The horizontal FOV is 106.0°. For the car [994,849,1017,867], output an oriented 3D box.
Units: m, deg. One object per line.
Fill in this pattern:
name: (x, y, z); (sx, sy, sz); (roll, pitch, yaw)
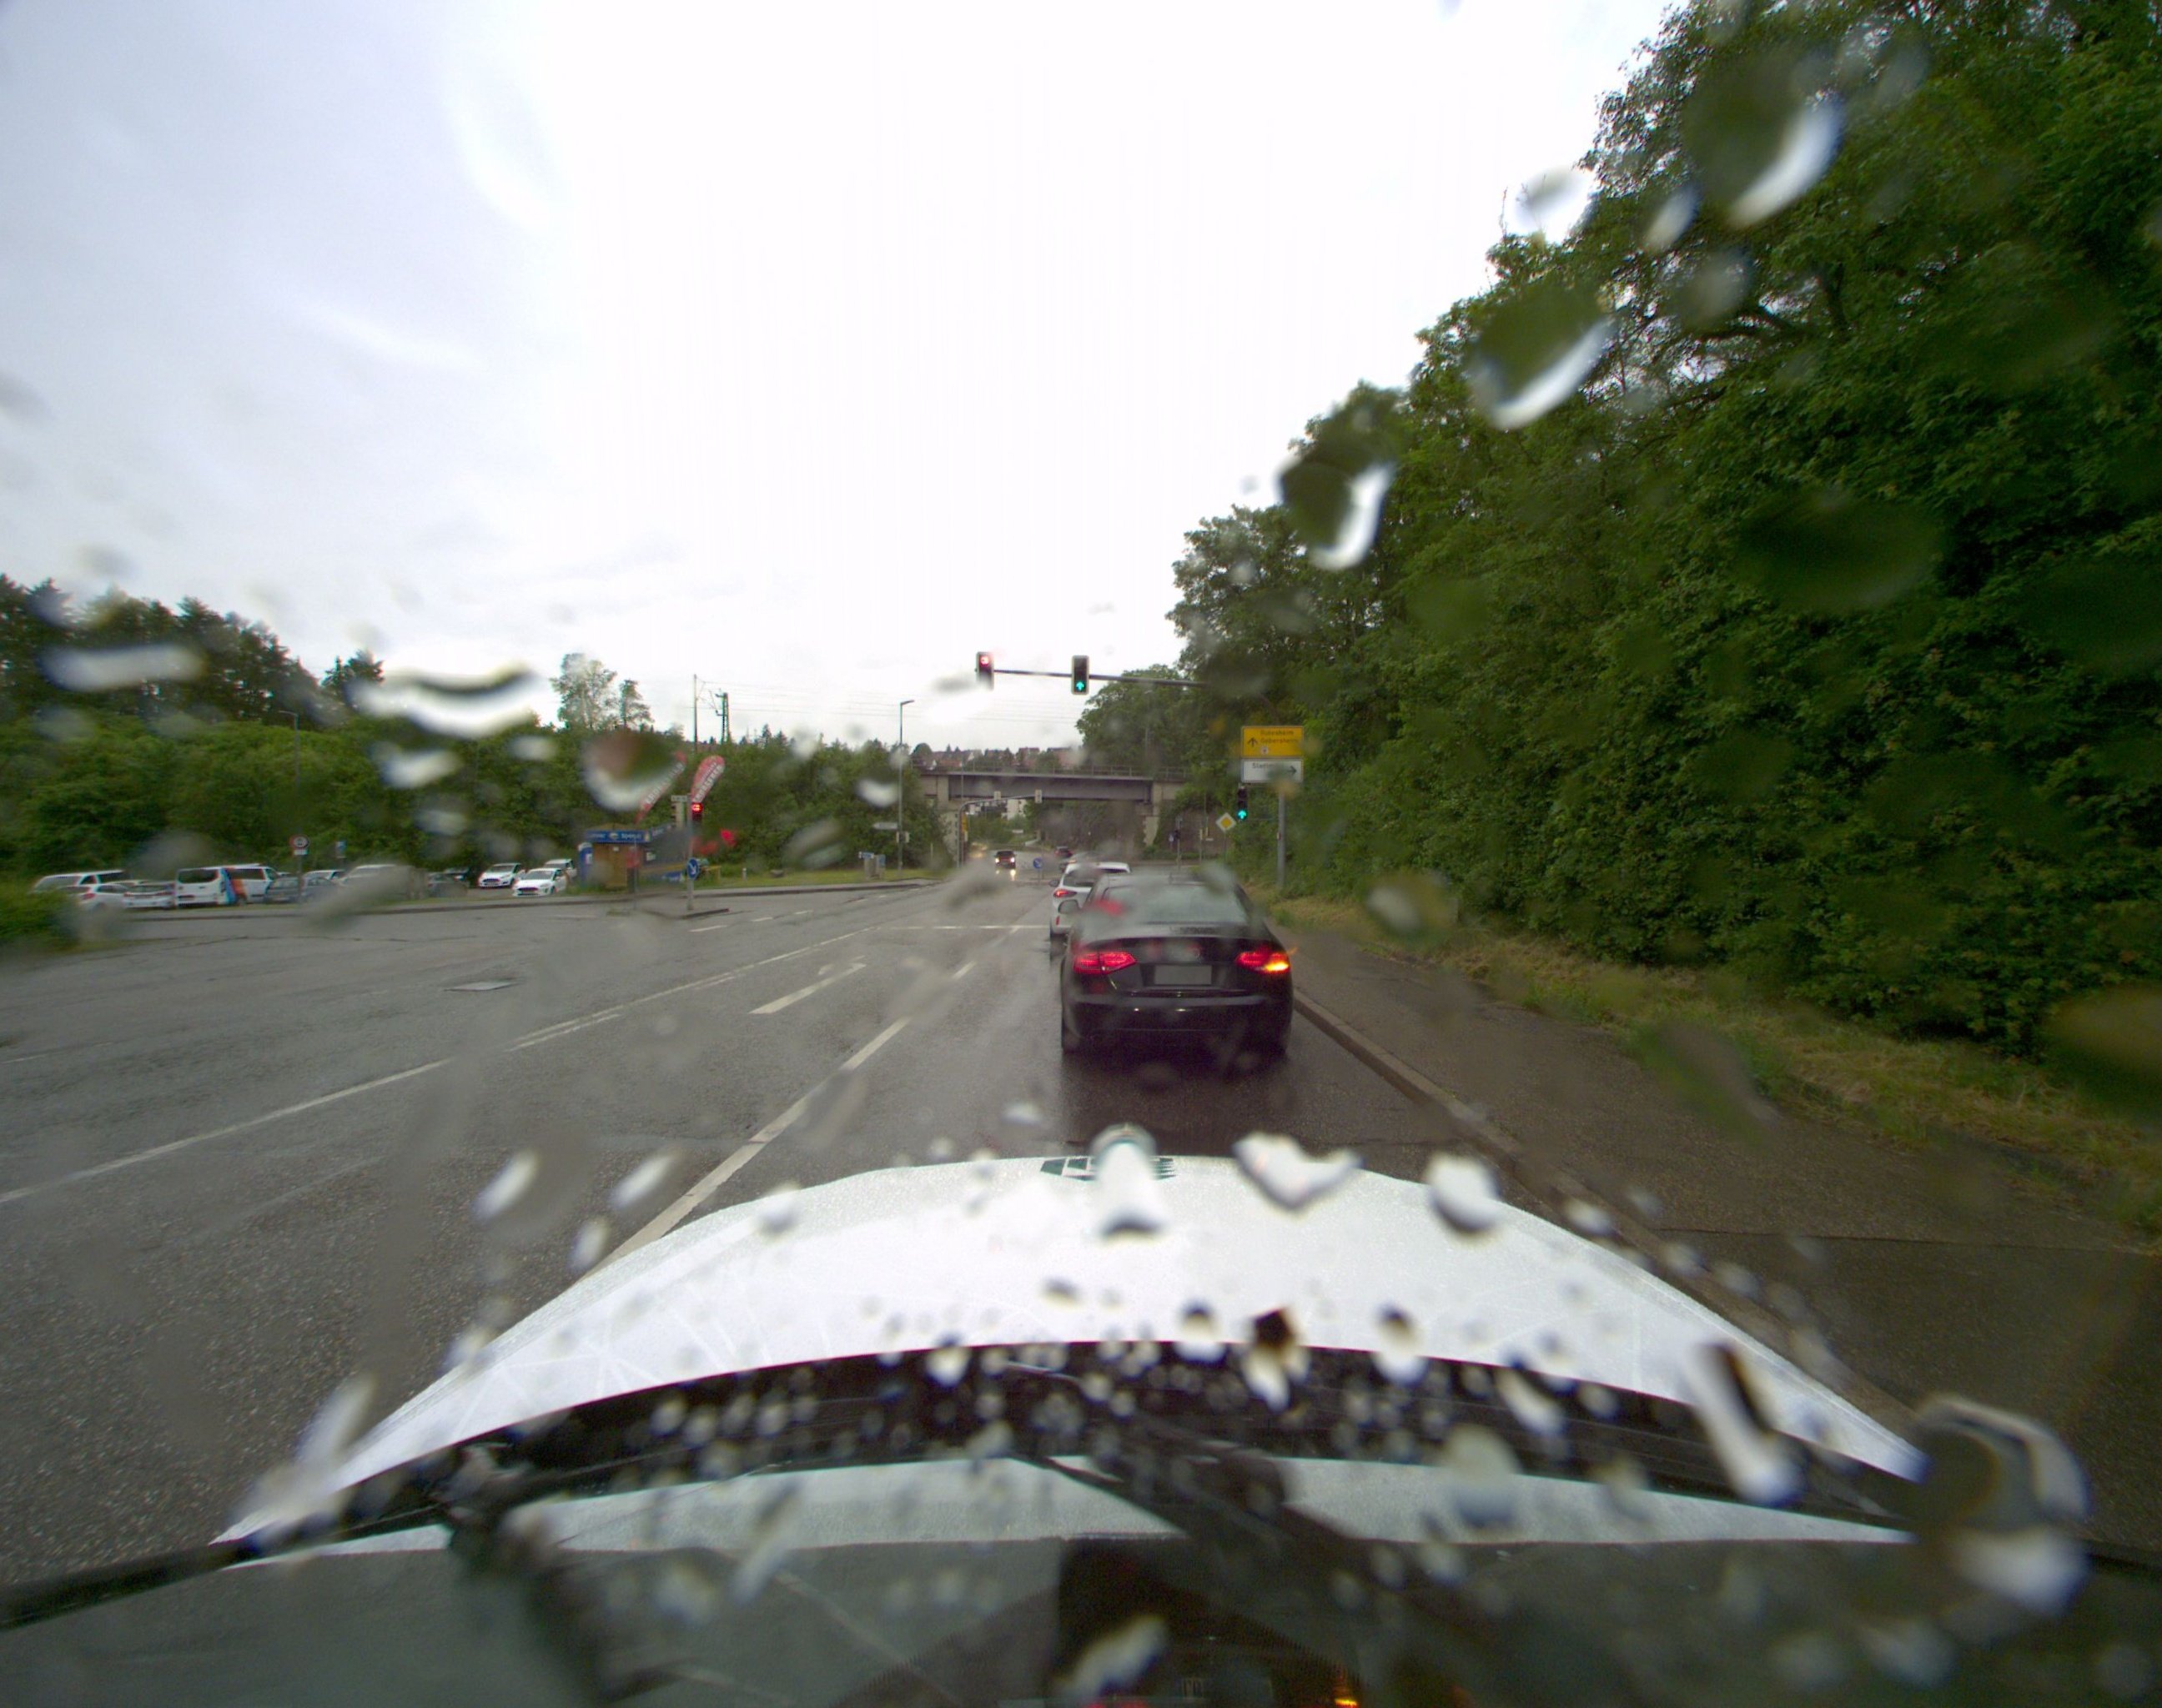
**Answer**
car: (-6.974, 0.380, 75.172); (1.990, 1.628, 3.993); (-1, 0, -5)

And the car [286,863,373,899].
car: (-44.768, 1.578, 48.624); (1.995, 2.013, 3.983); (-2, 0, -12)

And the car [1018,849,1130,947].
car: (-0.051, 0.769, 15.345); (1.816, 1.585, 4.001); (-1, -1, 2)

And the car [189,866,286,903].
car: (-49.064, 1.739, 47.487); (1.995, 2.013, 3.983); (-1, 0, -12)

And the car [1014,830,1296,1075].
car: (0.553, 0.701, 7.445); (1.863, 1.617, 4.001); (-1, -1, 2)

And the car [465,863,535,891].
car: (-35.391, 1.401, 49.755); (1.994, 1.585, 3.984); (0, -1, -11)

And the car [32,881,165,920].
car: (-44.364, 2.046, 36.917); (1.837, 1.585, 3.978); (0, -1, -16)

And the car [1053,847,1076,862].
car: (-1.831, 0.082, 89.273); (1.992, 1.596, 3.990); (-2, 0, -7)

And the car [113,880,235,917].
car: (-41.730, 2.011, 37.624); (1.858, 1.585, 3.978); (0, -1, -16)

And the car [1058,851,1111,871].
car: (0.285, 0.494, 62.119); (4.020, 1.470, 1.625); (0, 0, -40)

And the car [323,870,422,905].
car: (-34.642, 1.601, 39.978); (1.937, 1.585, 3.892); (0, -1, -11)

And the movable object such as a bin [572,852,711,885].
movable object such as a bin: (-22.787, 0.749, 42.422); (2.716, 1.628, 5.816); (-2, -1, 41)

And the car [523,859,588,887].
car: (-32.611, 1.143, 50.645); (1.994, 1.585, 3.985); (-2, 0, -11)

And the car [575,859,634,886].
car: (-30.374, 1.147, 52.047); (1.994, 1.585, 3.985); (-2, 0, -11)

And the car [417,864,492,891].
car: (-37.948, 1.425, 49.485); (1.994, 1.585, 3.984); (0, -1, -11)

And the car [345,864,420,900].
car: (-42.168, 1.650, 49.302); (1.941, 2.014, 3.849); (0, 0, -15)

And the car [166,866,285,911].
car: (-39.443, 1.538, 37.703); (1.997, 1.949, 3.978); (0, -1, -16)

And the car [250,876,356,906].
car: (-37.165, 1.748, 39.045); (1.751, 1.310, 3.984); (0, -1, -11)

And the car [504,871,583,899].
car: (-27.800, 1.571, 42.277); (1.652, 1.340, 4.883); (0, -1, -11)
